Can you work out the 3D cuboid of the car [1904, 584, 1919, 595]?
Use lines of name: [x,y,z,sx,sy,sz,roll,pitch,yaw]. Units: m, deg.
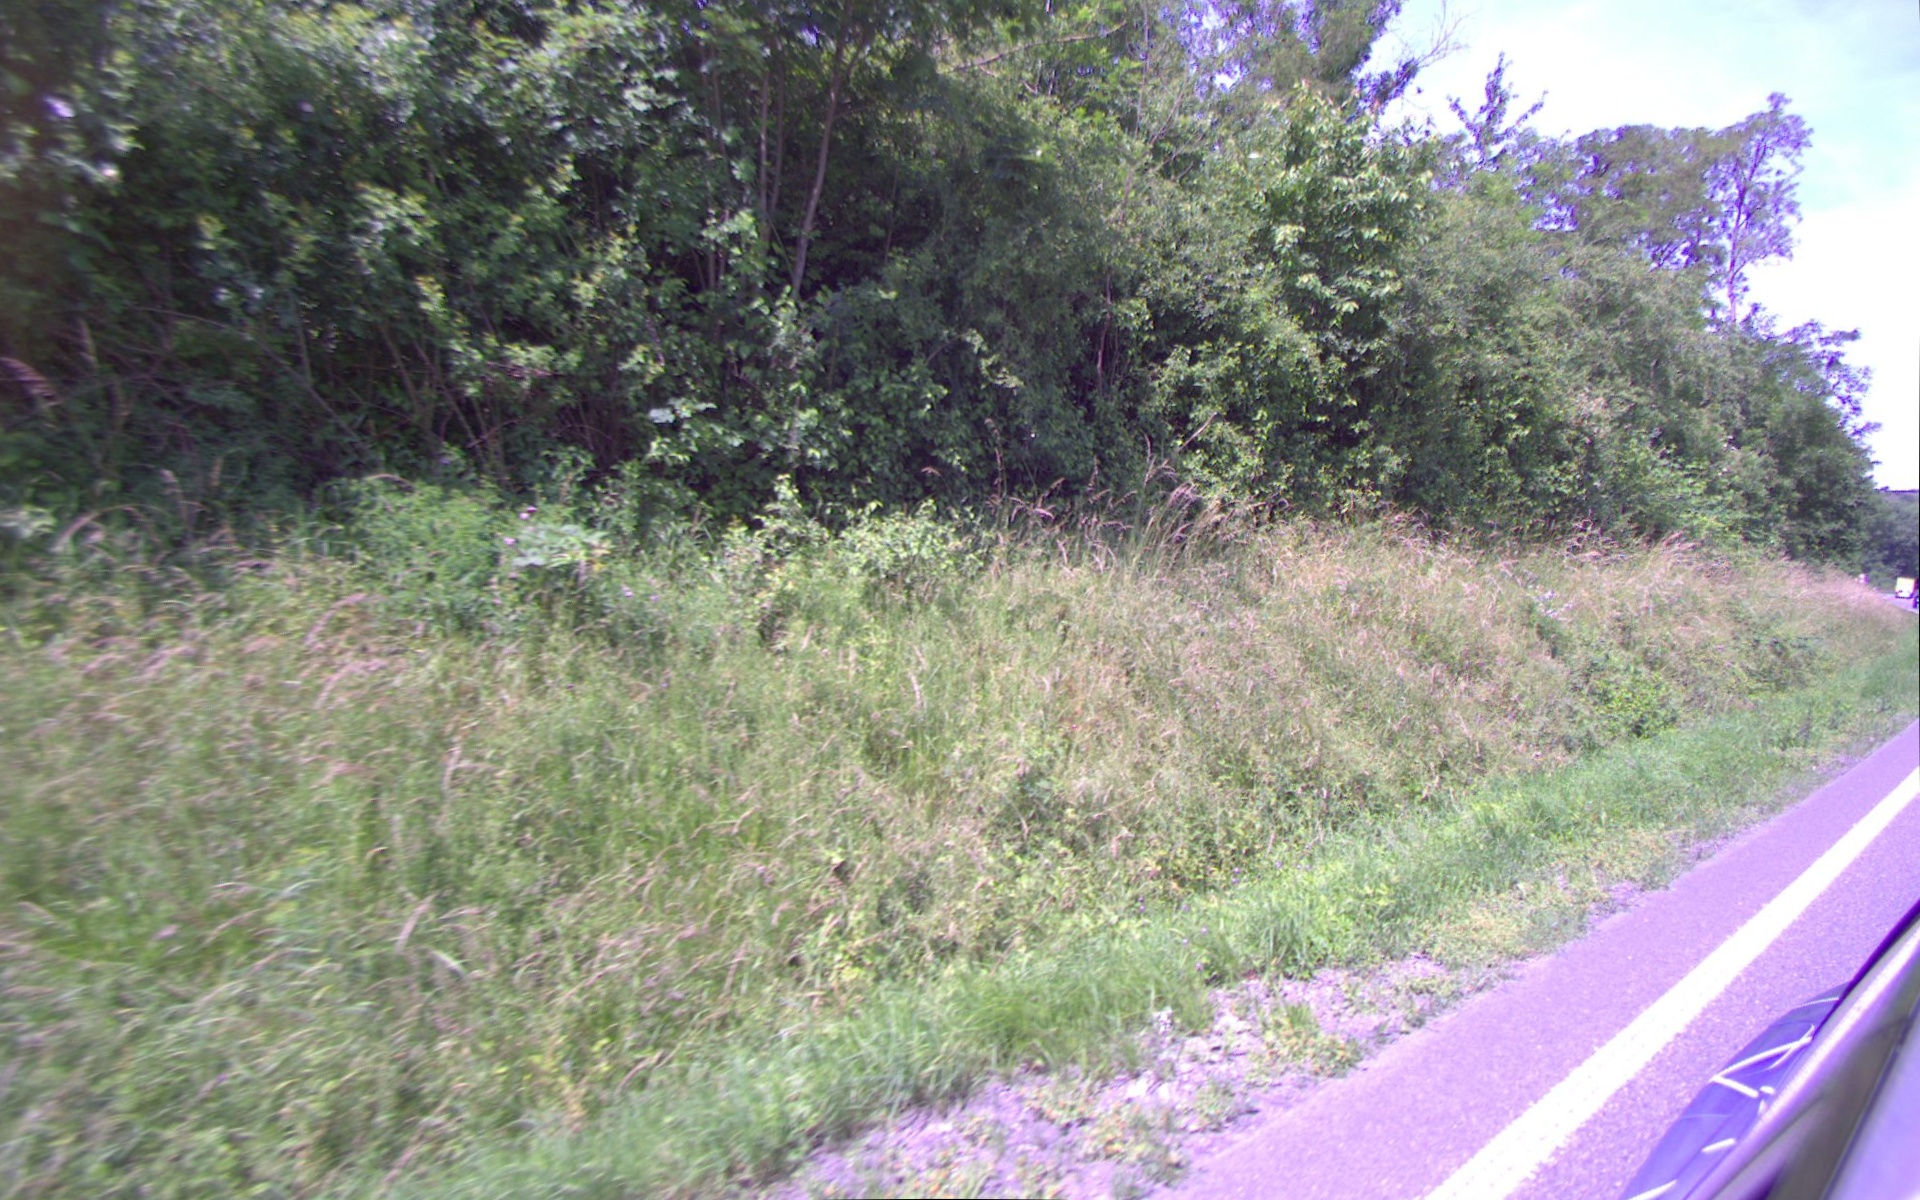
car: [173.997,-1.874,184.795,1.834,1.867,4.167,5,4,38]
